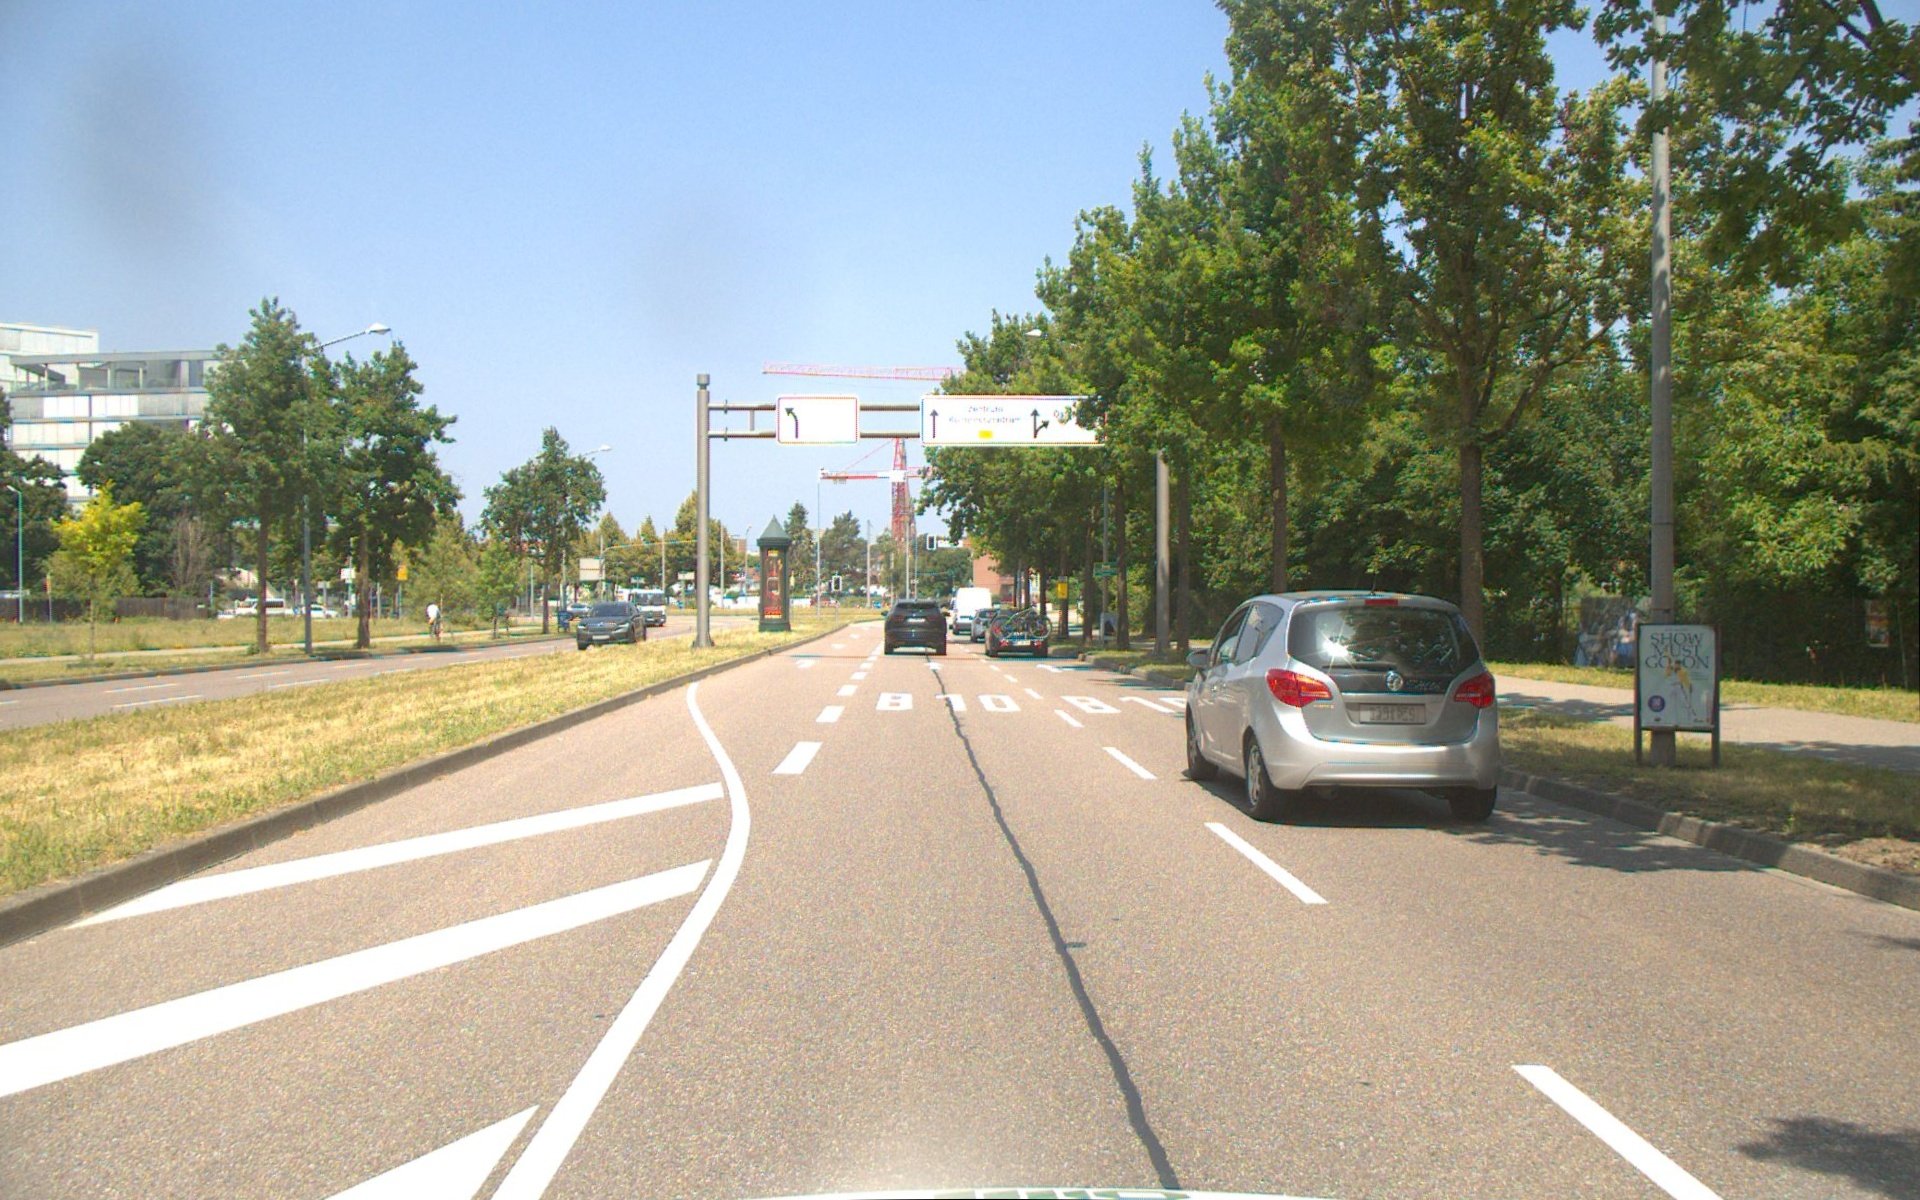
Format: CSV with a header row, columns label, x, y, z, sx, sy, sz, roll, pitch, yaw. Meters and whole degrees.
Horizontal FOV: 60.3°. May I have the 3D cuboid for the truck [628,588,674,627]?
label,x,y,z,sx,sy,sz,roll,pitch,yaw
truck,-21.640,0.516,116.057,2.588,2.621,6.310,0,0,-6

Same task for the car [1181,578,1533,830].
label,x,y,z,sx,sy,sz,roll,pitch,yaw
car,2.879,0.671,12.861,1.756,1.640,3.890,1,0,-1

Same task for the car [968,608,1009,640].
label,x,y,z,sx,sy,sz,roll,pitch,yaw
car,1.278,1.056,75.511,1.621,1.380,4.458,0,0,-3

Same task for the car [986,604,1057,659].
label,x,y,z,sx,sy,sz,roll,pitch,yaw
car,1.791,0.904,49.691,1.973,1.544,4.460,0,0,0

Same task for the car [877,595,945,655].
label,x,y,z,sx,sy,sz,roll,pitch,yaw
car,-1.470,0.723,50.782,1.957,1.719,4.033,1,0,0

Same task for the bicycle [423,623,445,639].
label,x,y,z,sx,sy,sz,roll,pitch,yaw
bicycle,-25.930,1.533,81.578,0.471,0.728,1.850,0,0,1

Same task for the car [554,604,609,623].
label,x,y,z,sx,sy,sz,roll,pitch,yaw
car,-30.204,1.093,132.018,3.906,1.478,2.000,0,0,-1

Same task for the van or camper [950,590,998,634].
label,x,y,z,sx,sy,sz,roll,pitch,yaw
van or camper,0.714,0.623,90.251,2.443,2.331,4.919,0,0,-1

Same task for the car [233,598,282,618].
label,x,y,z,sx,sy,sz,roll,pitch,yaw
car,-70.155,0.776,165.194,1.955,1.911,4.284,-1,0,28

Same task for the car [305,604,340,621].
label,x,y,z,sx,sy,sz,roll,pitch,yaw
car,-77.786,1.523,201.752,3.932,1.848,1.986,0,-7,-23

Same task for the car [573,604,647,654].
label,x,y,z,sx,sy,sz,roll,pitch,yaw
car,-12.016,0.969,57.083,1.855,1.639,4.531,0,0,-4

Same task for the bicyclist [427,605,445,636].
label,x,y,z,sx,sy,sz,roll,pitch,yaw
bicyclist,-25.905,1.001,81.762,0.610,1.515,0.757,0,0,1

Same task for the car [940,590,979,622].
label,x,y,z,sx,sy,sz,roll,pitch,yaw
car,-0.072,0.367,105.572,1.956,2.049,3.993,0,0,-8
